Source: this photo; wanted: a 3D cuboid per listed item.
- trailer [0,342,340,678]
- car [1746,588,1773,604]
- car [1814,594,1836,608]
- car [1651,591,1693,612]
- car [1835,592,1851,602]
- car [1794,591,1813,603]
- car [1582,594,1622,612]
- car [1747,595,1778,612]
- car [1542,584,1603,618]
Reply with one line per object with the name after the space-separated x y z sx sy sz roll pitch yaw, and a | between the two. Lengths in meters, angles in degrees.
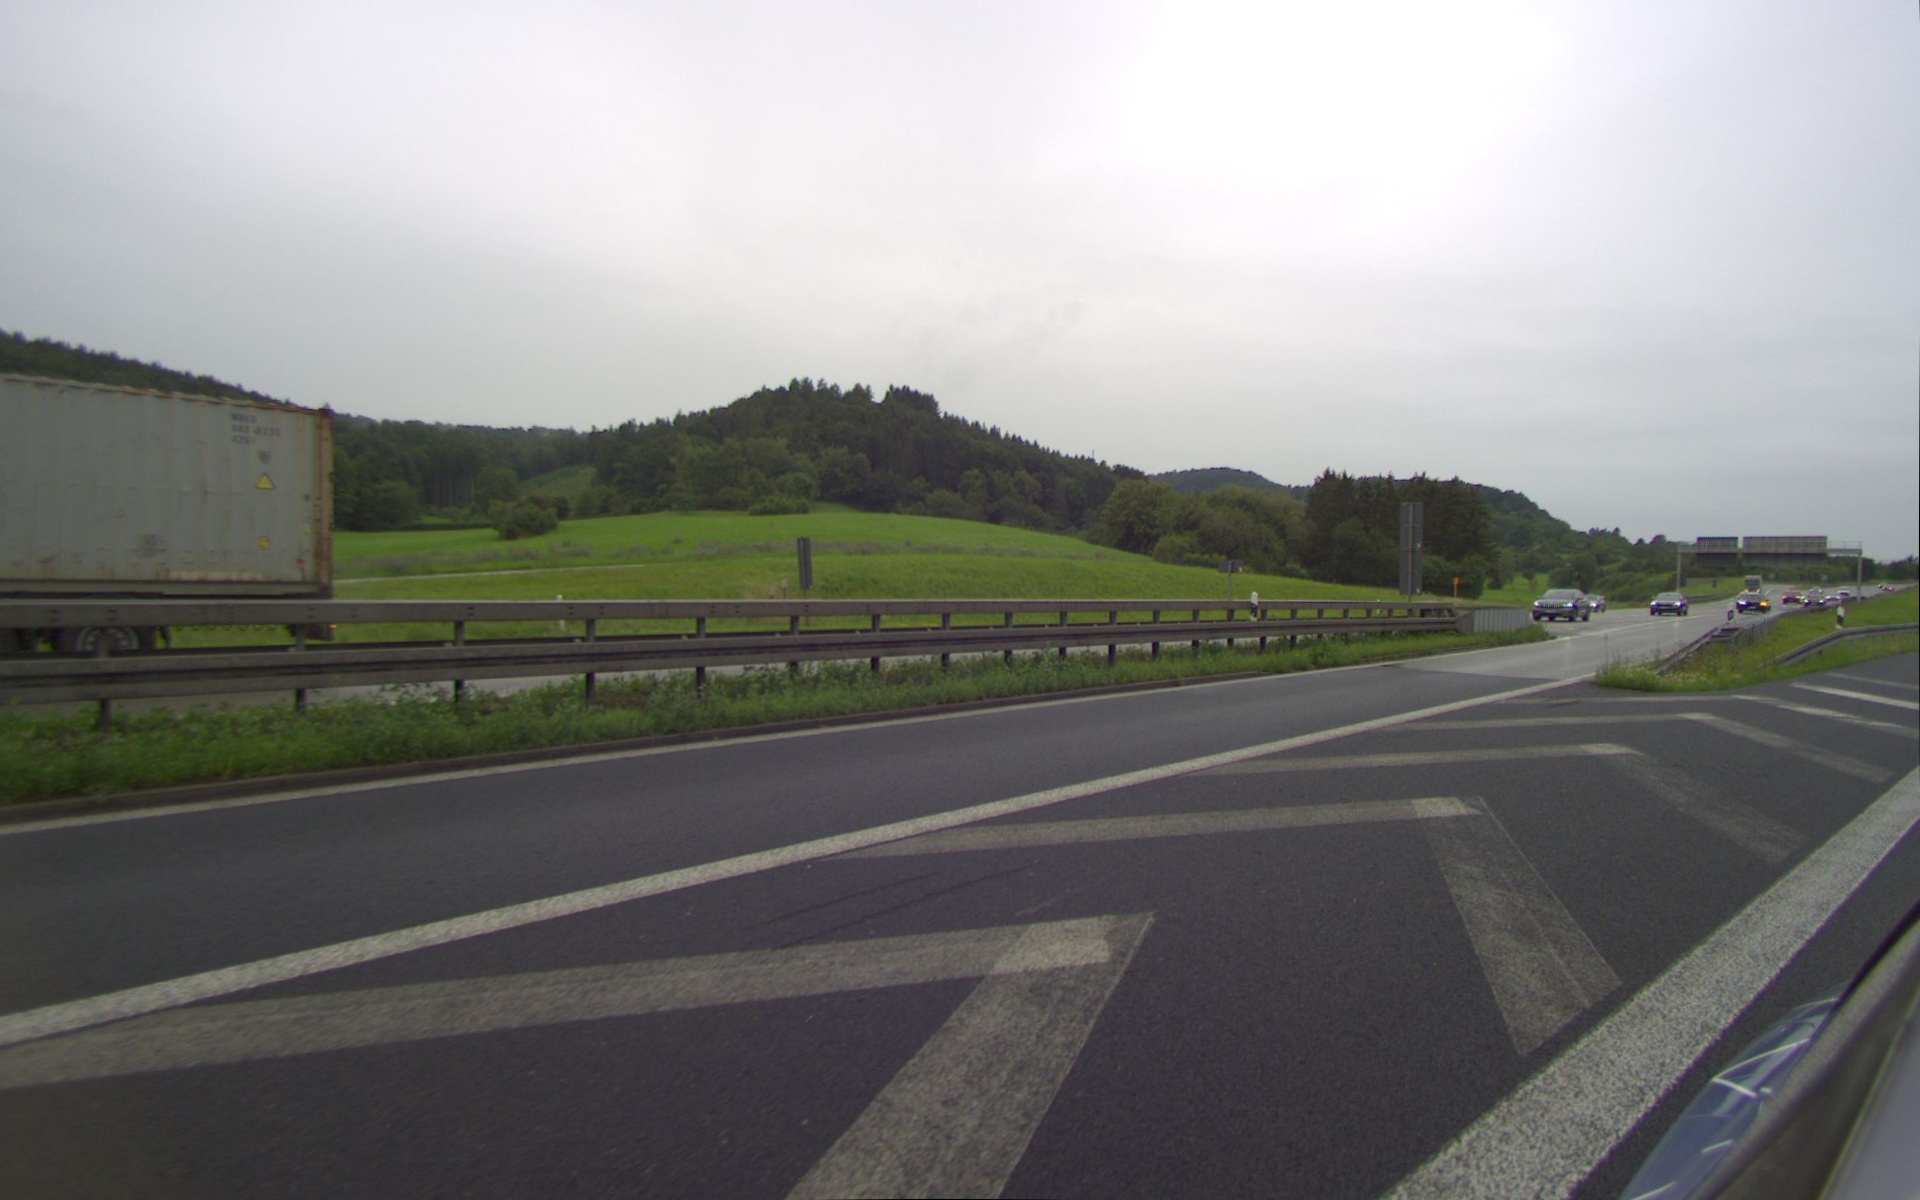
-14.023 -1.035 10.916 2.605 3.943 12.288 0 0 45 | trailer
87.799 -0.404 111.125 1.909 1.715 4.643 0 1 44 | car
110.825 0.116 129.678 1.909 1.715 4.645 0 1 43 | car
50.712 0.105 72.044 4.058 1.400 1.668 -1 0 -44 | car
143.919 -0.511 164.935 1.909 1.715 4.645 0 1 43 | car
121.641 -0.427 145.954 1.909 1.715 4.645 0 1 43 | car
52.975 0.229 83.510 1.899 1.473 4.635 0 1 44 | car
68.381 0.264 86.234 1.861 1.374 4.499 0 1 42 | car
31.080 0.033 51.290 1.769 1.630 4.571 0 1 43 | car
